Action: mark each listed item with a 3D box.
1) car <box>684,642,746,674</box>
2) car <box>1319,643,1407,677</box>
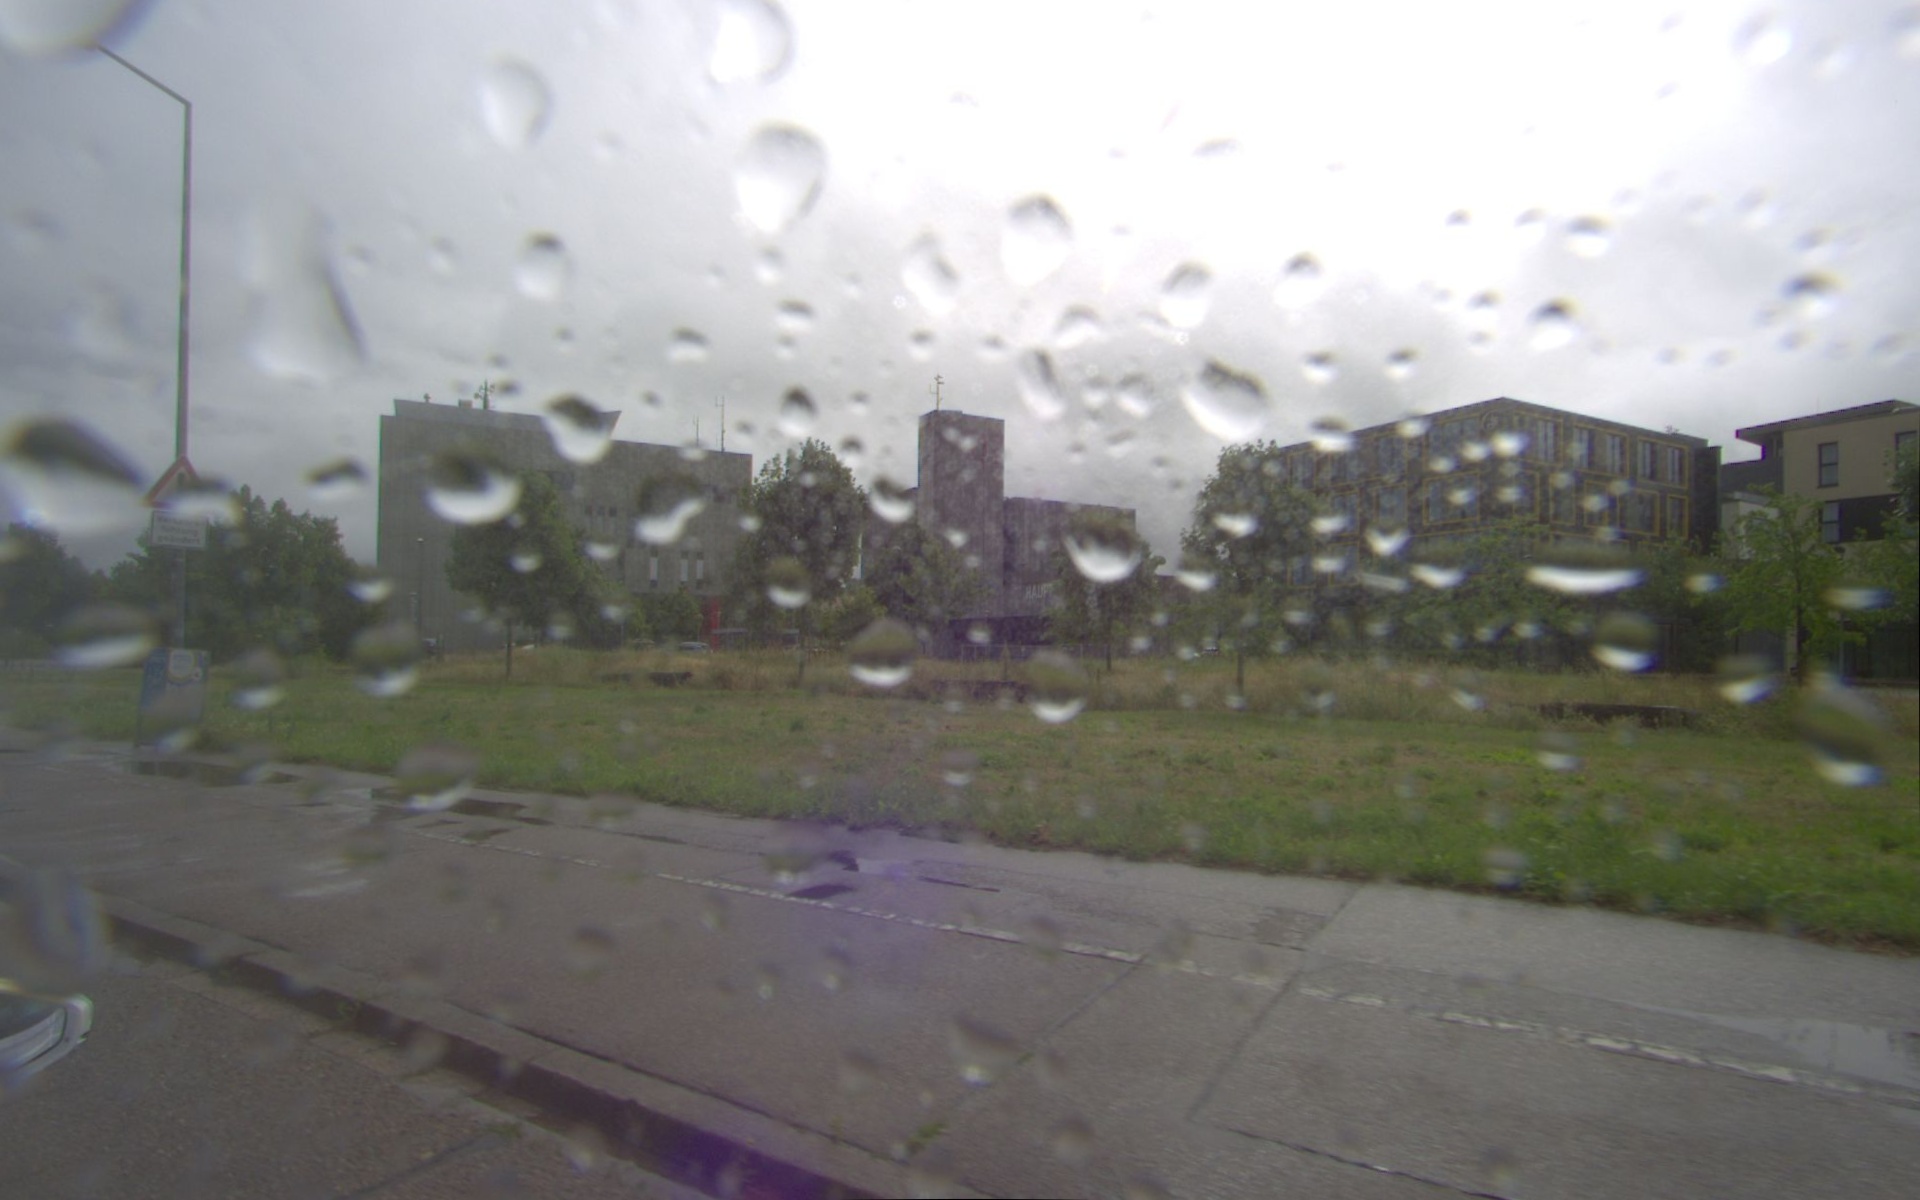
[{"bbox_3d":[-15.629,3.710,63.919,3.646,2.038,1.997,1,-3,-19],"label":"car"},{"bbox_3d":[21.921,3.240,54.437,4.488,1.784,1.993,2,-3,-26],"label":"car"}]
